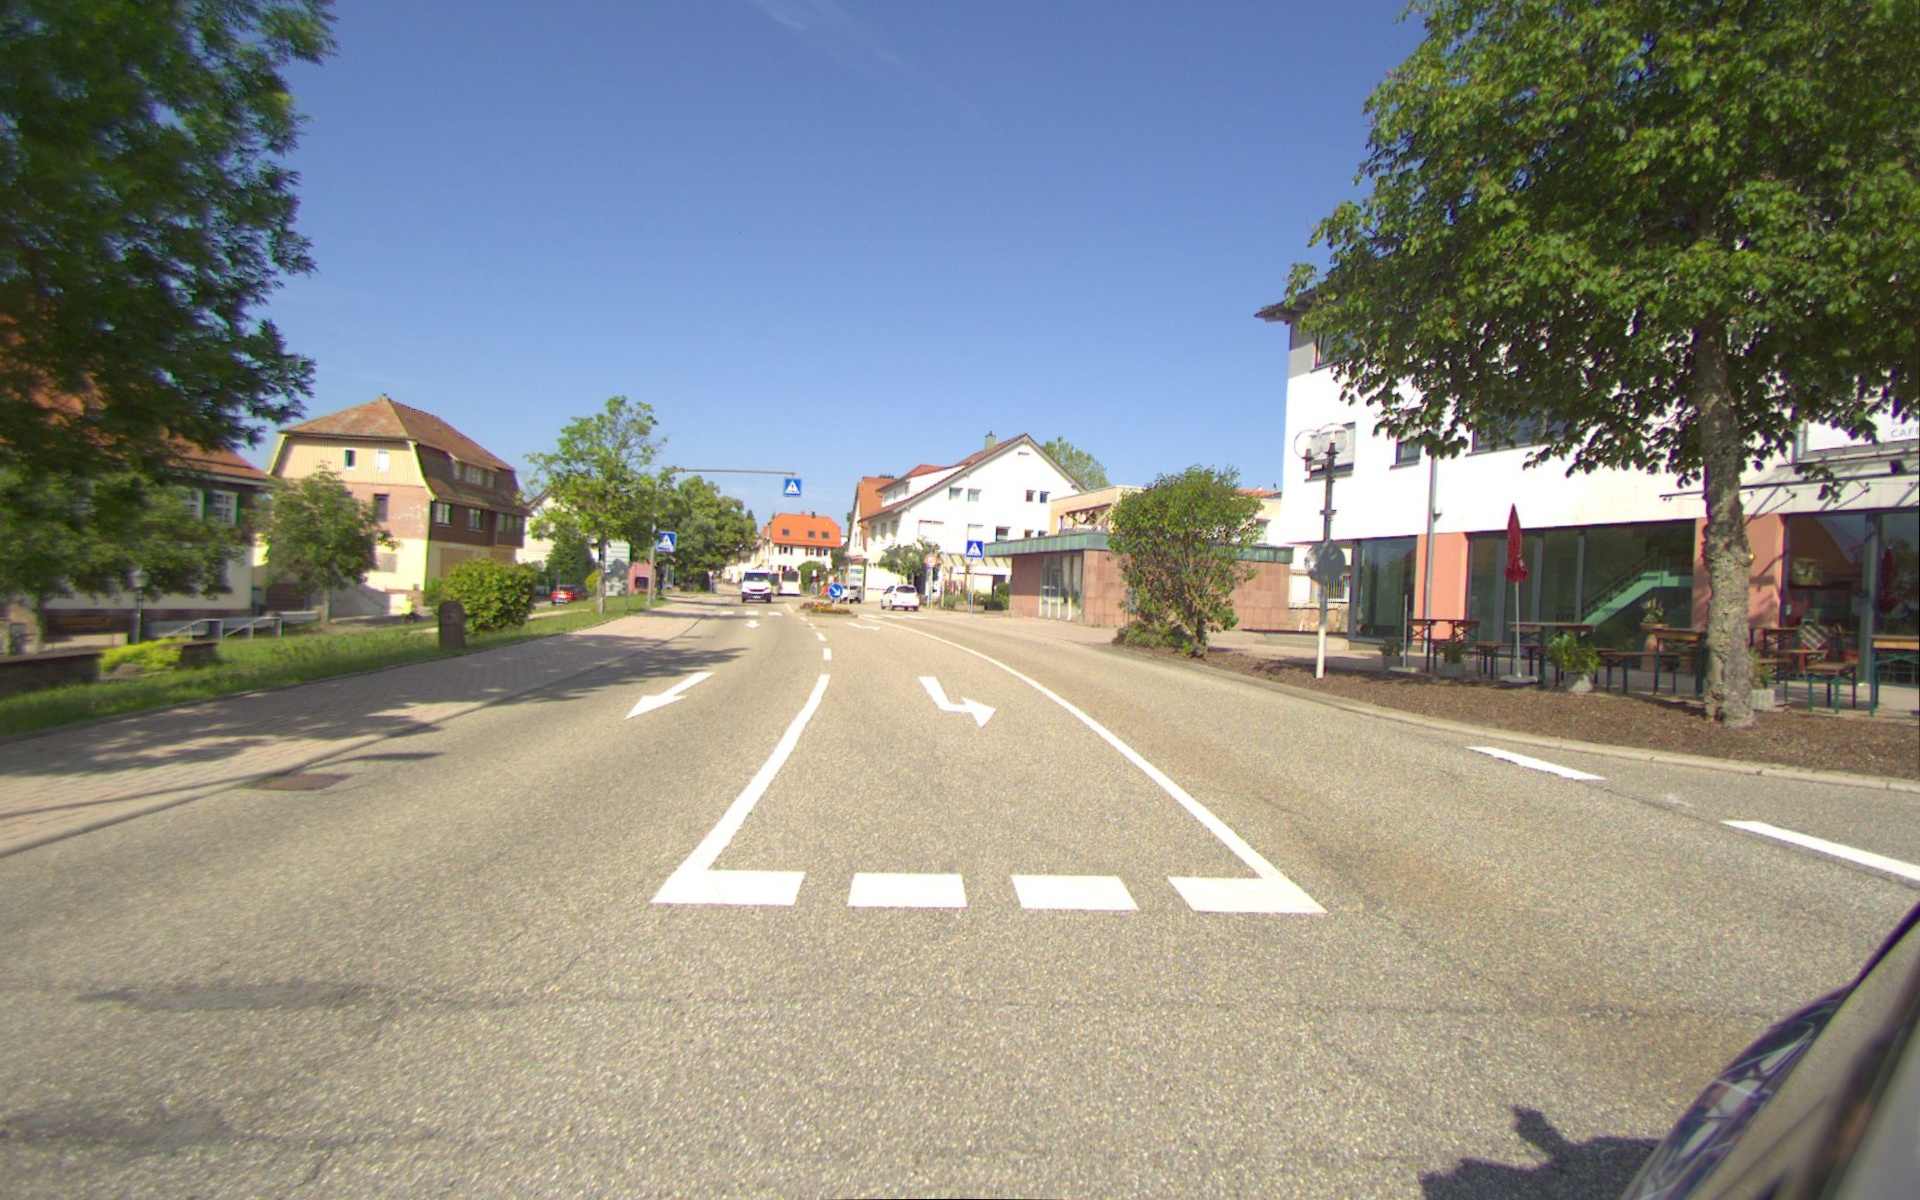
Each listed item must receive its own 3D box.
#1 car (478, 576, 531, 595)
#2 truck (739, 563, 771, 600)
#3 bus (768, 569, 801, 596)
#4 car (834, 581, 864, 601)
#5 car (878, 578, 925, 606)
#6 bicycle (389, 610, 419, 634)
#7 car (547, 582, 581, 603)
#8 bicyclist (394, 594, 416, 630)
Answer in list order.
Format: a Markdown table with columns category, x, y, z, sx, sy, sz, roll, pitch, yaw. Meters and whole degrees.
| category | x | y | z | sx | sy | sz | roll | pitch | yaw |
| --- | --- | --- | --- | --- | --- | --- | --- | --- | --- |
| car | -37.369 | -1.170 | 83.112 | 3.637 | 1.451 | 1.780 | -2 | 1 | -11 |
| truck | -14.208 | -1.339 | 69.858 | 1.958 | 2.370 | 6.509 | 1 | 2 | -13 |
| bus | -22.155 | -2.129 | 127.323 | 2.660 | 3.052 | 15.253 | 1 | 0 | -15 |
| car | -8.315 | -0.695 | 75.445 | 1.739 | 1.451 | 3.721 | -1 | 1 | -13 |
| car | -3.379 | -0.492 | 57.778 | 1.739 | 1.486 | 3.722 | -1 | 1 | -18 |
| bicycle | -30.649 | 1.202 | 55.794 | 0.529 | 1.205 | 1.725 | 0 | 1 | 8 |
| car | -29.546 | -0.590 | 75.578 | 1.739 | 1.451 | 3.721 | -1 | 1 | -12 |
| bicyclist | -30.650 | 0.662 | 55.879 | 0.572 | 1.949 | 0.996 | 0 | 1 | 8 |
